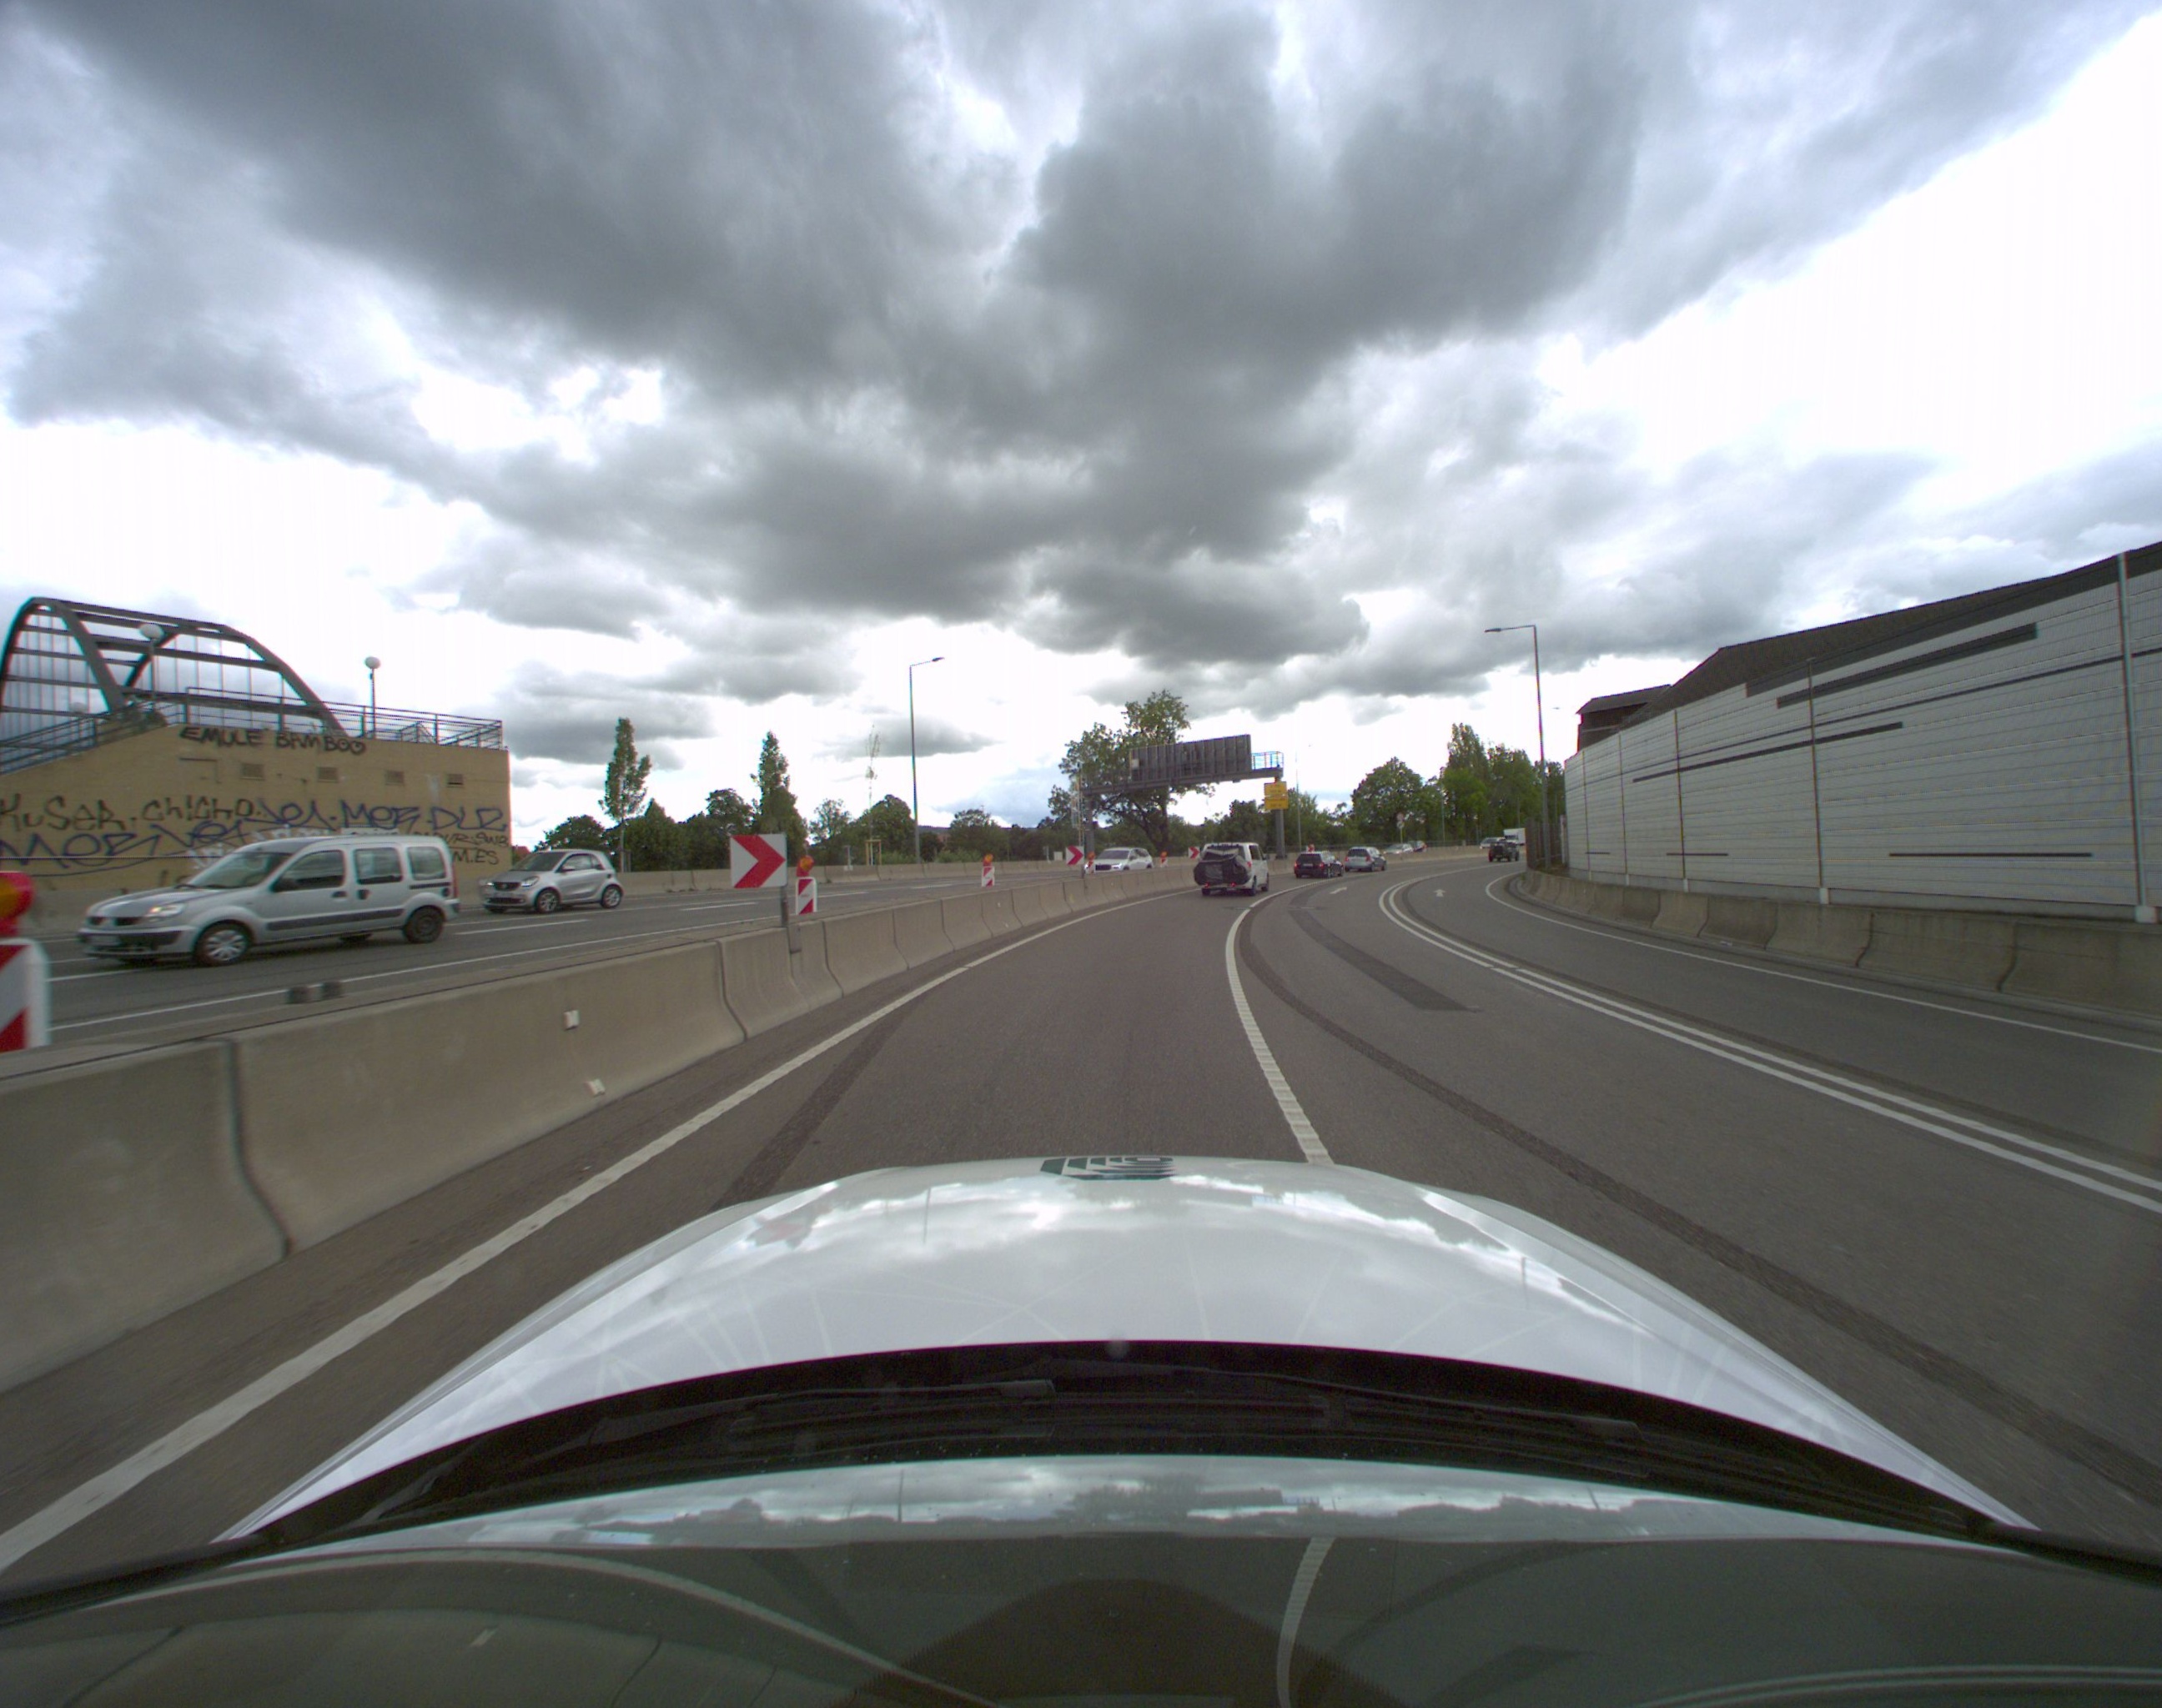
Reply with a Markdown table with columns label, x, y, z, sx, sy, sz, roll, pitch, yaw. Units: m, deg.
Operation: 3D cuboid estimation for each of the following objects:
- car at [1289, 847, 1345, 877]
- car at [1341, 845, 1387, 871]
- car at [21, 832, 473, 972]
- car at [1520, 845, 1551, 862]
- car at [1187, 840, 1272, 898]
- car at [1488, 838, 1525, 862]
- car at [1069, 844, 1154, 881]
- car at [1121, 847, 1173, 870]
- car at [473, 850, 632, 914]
| label | x | y | z | sx | sy | sz | roll | pitch | yaw |
| --- | --- | --- | --- | --- | --- | --- | --- | --- | --- |
| car | 12.768 | 0.421 | 43.905 | 1.797 | 1.434 | 4.091 | -3 | 0 | 31 |
| car | 18.076 | 0.231 | 51.893 | 1.902 | 1.488 | 4.091 | -1 | 0 | 32 |
| car | -11.913 | 0.596 | 12.140 | 1.980 | 1.686 | 4.274 | -1 | 0 | 13 |
| car | 45.856 | -0.053 | 82.203 | 1.974 | 1.673 | 4.025 | 0 | 0 | 41 |
| car | 5.538 | 0.458 | 29.725 | 1.976 | 1.859 | 5.671 | 0 | 1 | 22 |
| car | 34.802 | -0.303 | 66.601 | 1.974 | 1.860 | 4.025 | -2 | -1 | 38 |
| car | 1.494 | 0.354 | 37.257 | 2.078 | 1.552 | 5.172 | 0 | 1 | 25 |
| car | 4.409 | 0.281 | 53.929 | 1.908 | 1.450 | 4.025 | -1 | 0 | 30 |
| car | -13.129 | 0.657 | 20.410 | 1.612 | 1.475 | 2.954 | -1 | 0 | 17 |
